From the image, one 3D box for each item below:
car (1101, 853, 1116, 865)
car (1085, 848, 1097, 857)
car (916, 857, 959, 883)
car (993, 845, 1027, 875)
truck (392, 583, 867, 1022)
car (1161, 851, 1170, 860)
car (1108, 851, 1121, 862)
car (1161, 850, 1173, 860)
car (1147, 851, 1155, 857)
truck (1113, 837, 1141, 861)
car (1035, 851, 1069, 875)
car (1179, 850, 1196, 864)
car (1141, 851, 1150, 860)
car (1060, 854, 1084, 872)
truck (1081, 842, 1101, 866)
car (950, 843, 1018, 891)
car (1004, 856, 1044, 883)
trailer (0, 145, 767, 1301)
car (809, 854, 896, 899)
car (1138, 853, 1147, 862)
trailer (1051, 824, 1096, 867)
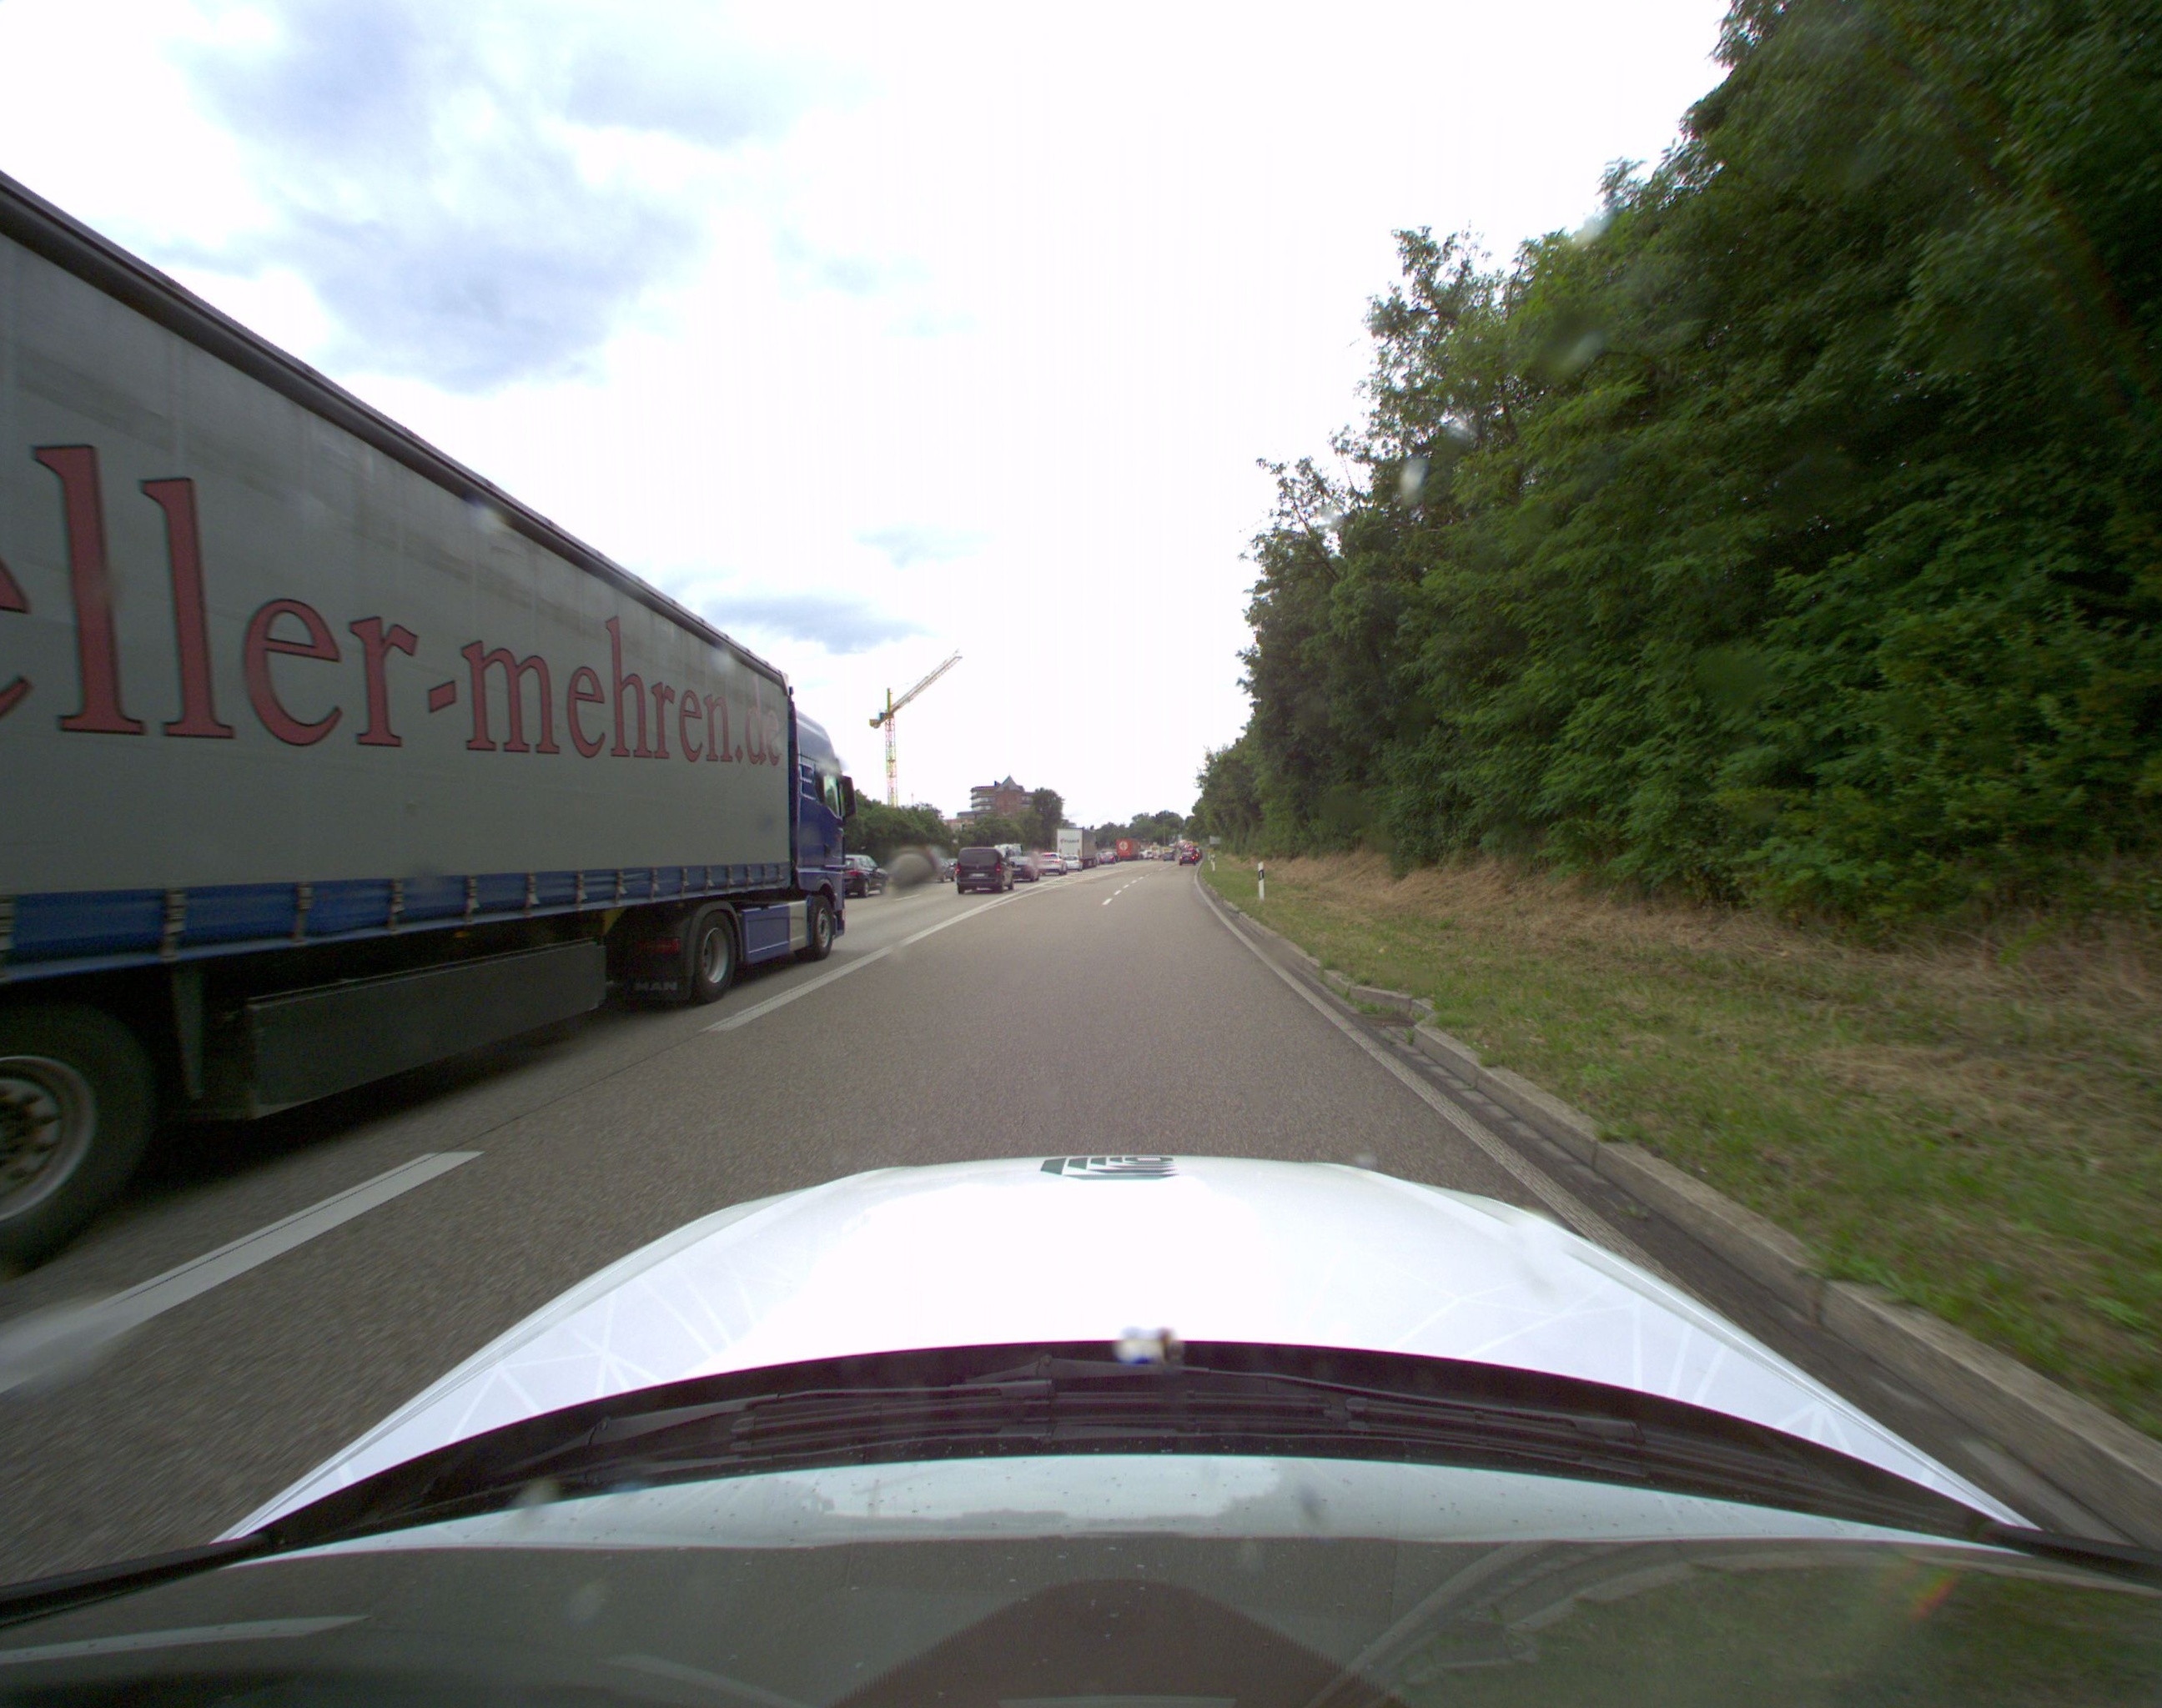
[{"bbox_3d":[3.756,0.676,111.604,1.708,1.684,4.008,-1,-1,7],"label":"car"},{"bbox_3d":[2.261,-0.301,180.544,1.982,2.013,4.010,-2,0,8],"label":"car"},{"bbox_3d":[-8.578,0.925,48.876,1.668,1.389,4.003,-2,0,3],"label":"car"},{"bbox_3d":[-6.267,0.512,72.647,1.983,2.553,5.371,-2,0,6],"label":"car"},{"bbox_3d":[-5.043,-0.456,10.832,2.552,4.043,6.589,-1,-1,1],"label":"truck"},{"bbox_3d":[18.569,0.325,178.508,1.941,2.013,4.007,-2,0,6],"label":"car"},{"bbox_3d":[5.356,0.398,129.147,1.708,1.684,4.008,-1,-1,7],"label":"car"},{"bbox_3d":[13.853,0.146,131.452,1.816,1.482,4.007,-2,0,6],"label":"car"},{"bbox_3d":[17.357,0.039,202.341,1.769,1.482,4.005,-2,0,4],"label":"car"},{"bbox_3d":[8.543,-0.876,149.906,3.468,4.073,13.630,-2,0,10],"label":"truck"},{"bbox_3d":[-2.102,0.688,60.979,1.947,1.695,4.872,-1,-1,5],"label":"car"},{"bbox_3d":[12.197,0.348,93.133,1.814,1.482,4.010,-2,0,8],"label":"car"},{"bbox_3d":[14.662,0.398,184.871,1.605,1.948,3.713,-1,-1,8],"label":"car"},{"bbox_3d":[-0.768,0.791,71.640,1.756,1.478,4.094,0,0,5],"label":"car"},{"bbox_3d":[1.872,0.044,144.612,2.726,4.138,10.709,-1,-1,4],"label":"truck"},{"bbox_3d":[-4.028,0.536,34.752,1.979,1.898,4.989,0,-1,3],"label":"car"},{"bbox_3d":[-3.297,0.895,47.650,1.840,1.460,4.832,-1,-1,2],"label":"car"},{"bbox_3d":[-5.063,-0.451,2.923,2.618,4.023,13.461,-1,-1,0],"label":"trailer"},{"bbox_3d":[-9.045,0.848,32.656,1.852,1.613,4.657,-2,0,4],"label":"car"},{"bbox_3d":[13.166,0.690,173.506,1.604,1.948,3.715,-1,-1,10],"label":"car"},{"bbox_3d":[-0.556,-0.715,83.194,3.283,4.036,13.116,-1,-1,5],"label":"trailer"}]
